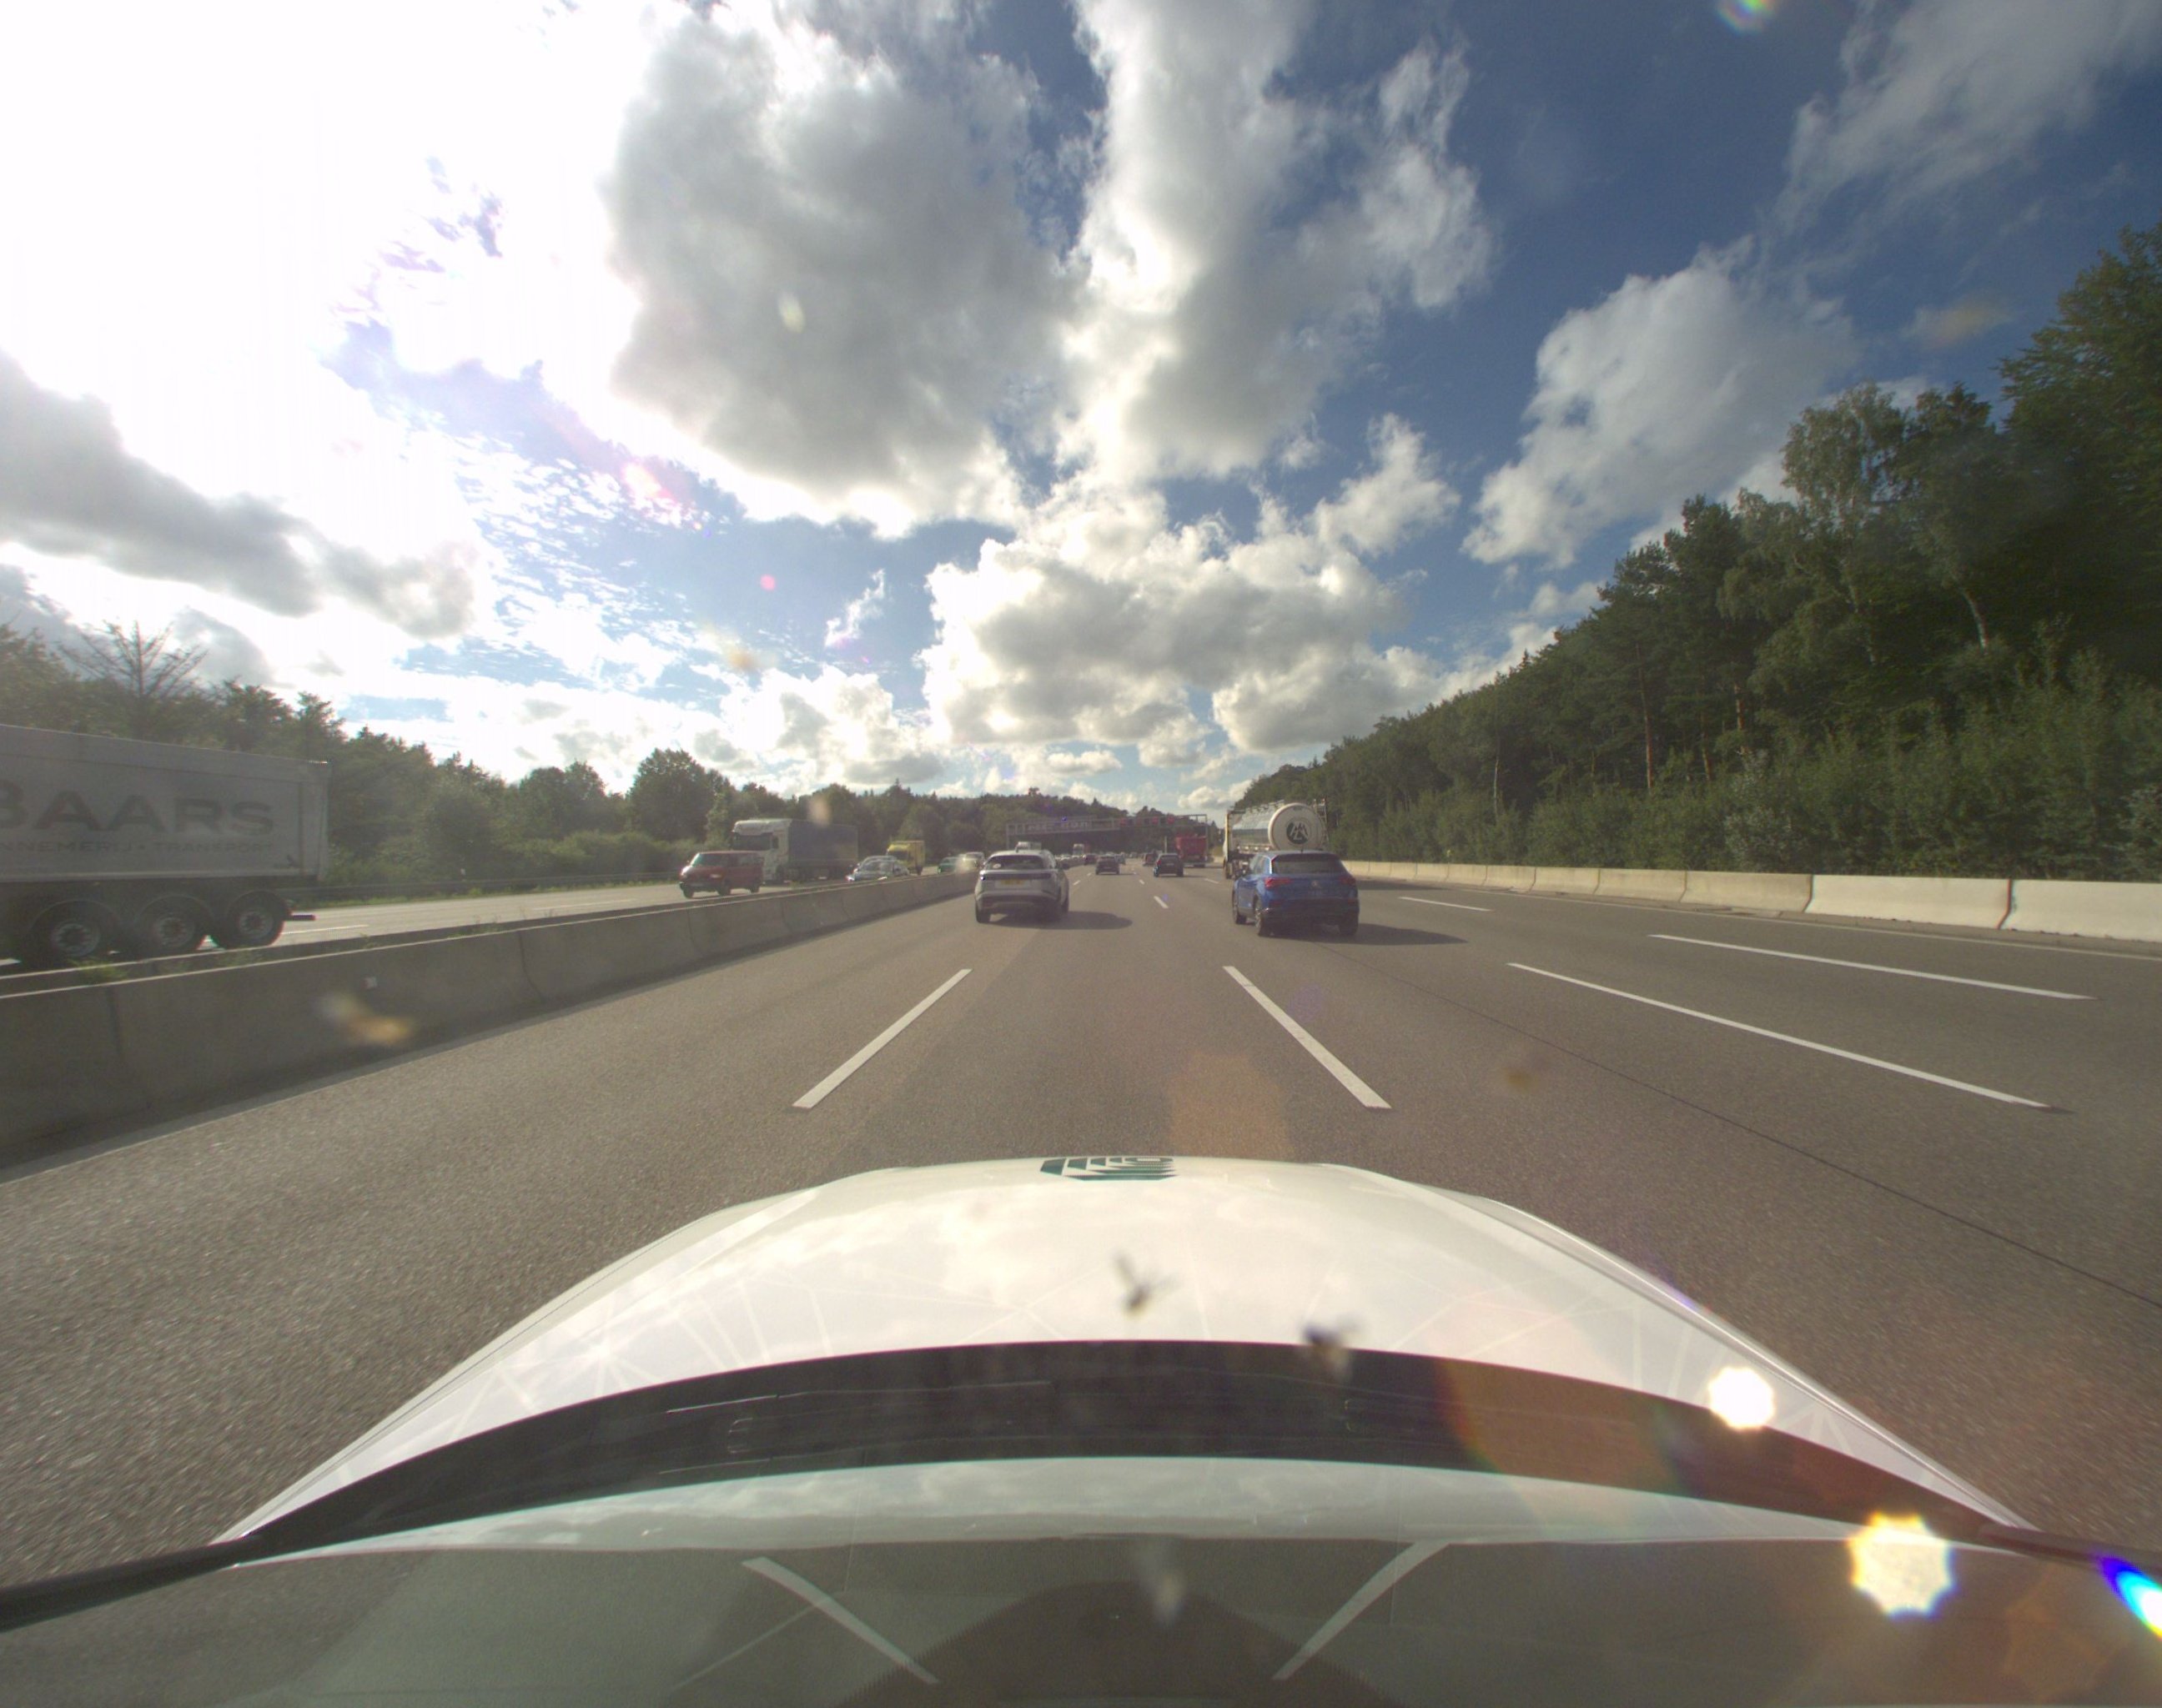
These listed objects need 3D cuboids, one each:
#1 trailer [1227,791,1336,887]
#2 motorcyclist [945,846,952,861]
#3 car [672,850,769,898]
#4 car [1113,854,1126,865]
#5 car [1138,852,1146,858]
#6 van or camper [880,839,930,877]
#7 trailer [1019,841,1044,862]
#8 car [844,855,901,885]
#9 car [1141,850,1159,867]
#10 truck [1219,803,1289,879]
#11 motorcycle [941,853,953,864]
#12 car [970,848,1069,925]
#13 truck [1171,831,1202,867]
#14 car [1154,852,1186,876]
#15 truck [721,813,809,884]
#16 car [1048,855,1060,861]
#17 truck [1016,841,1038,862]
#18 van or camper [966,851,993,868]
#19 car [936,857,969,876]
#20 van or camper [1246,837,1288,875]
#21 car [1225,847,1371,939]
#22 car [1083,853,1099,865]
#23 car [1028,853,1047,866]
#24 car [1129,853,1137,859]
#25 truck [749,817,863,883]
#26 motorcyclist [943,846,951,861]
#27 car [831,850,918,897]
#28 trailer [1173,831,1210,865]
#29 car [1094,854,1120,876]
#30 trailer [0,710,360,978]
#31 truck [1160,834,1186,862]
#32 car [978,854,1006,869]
[{"bbox_3d":[9.084,-0.597,38.510,2.638,3.767,11.867,-2,0,2],"label":"trailer"},{"bbox_3d":[-13.296,-0.016,81.594,0.600,1.476,0.532,-1,-1,4],"label":"motorcyclist"},{"bbox_3d":[-15.631,0.808,35.613,1.840,1.940,5.035,-1,0,1],"label":"car"},{"bbox_3d":[5.204,0.736,110.253,1.815,1.457,4.002,-1,-1,2],"label":"car"},{"bbox_3d":[16.260,0.349,217.538,2.069,1.457,4.002,-3,0,2],"label":"car"},{"bbox_3d":[-14.405,0.336,67.132,2.364,2.891,6.510,-2,0,3],"label":"van or camper"},{"bbox_3d":[-10.053,-0.489,166.039,3.303,4.106,14.168,-1,0,3],"label":"trailer"},{"bbox_3d":[-12.223,0.893,48.076,1.837,1.596,4.916,-2,0,2],"label":"car"},{"bbox_3d":[8.101,0.527,96.466,1.886,1.856,4.102,0,0,2],"label":"car"},{"bbox_3d":[9.369,-0.662,44.736,2.639,3.823,6.085,-2,0,2],"label":"truck"},{"bbox_3d":[-13.337,0.441,80.997,0.607,1.040,2.177,-1,0,4],"label":"motorcycle"},{"bbox_3d":[-1.363,0.701,20.199,2.000,1.616,5.300,-1,0,0],"label":"car"},{"bbox_3d":[11.374,-0.529,87.936,2.700,3.718,5.819,-1,0,1],"label":"truck"},{"bbox_3d":[5.712,0.595,52.749,1.815,1.457,4.002,-1,0,2],"label":"car"},{"bbox_3d":[-19.378,-0.326,50.423,2.808,4.094,6.065,-1,0,2],"label":"truck"},{"bbox_3d":[-5.067,0.779,152.834,1.803,1.161,4.519,-1,0,3],"label":"car"},{"bbox_3d":[-10.482,-0.474,158.966,3.303,4.106,6.231,-1,0,3],"label":"truck"},{"bbox_3d":[-12.051,0.619,96.818,1.984,1.937,5.465,-1,0,5],"label":"van or camper"},{"bbox_3d":[-10.691,1.007,68.114,1.776,1.470,4.334,-2,0,3],"label":"car"},{"bbox_3d":[12.060,0.142,53.084,1.815,2.307,4.942,-1,0,3],"label":"van or camper"},{"bbox_3d":[4.089,0.666,16.074,1.766,1.530,4.459,-1,0,1],"label":"car"},{"bbox_3d":[1.336,0.686,108.842,1.934,1.457,4.004,-3,0,3],"label":"car"},{"bbox_3d":[-5.363,0.680,100.717,1.856,1.552,4.664,-1,0,2],"label":"car"},{"bbox_3d":[14.621,0.511,230.176,2.068,1.457,4.004,-3,0,4],"label":"car"},{"bbox_3d":[-19.089,-0.262,57.971,2.808,4.094,13.852,-1,0,2],"label":"truck"},{"bbox_3d":[-13.335,-0.021,80.984,0.600,1.476,0.532,-1,-1,4],"label":"motorcyclist"},{"bbox_3d":[-9.119,0.799,36.539,2.162,1.878,5.367,-2,0,3],"label":"car"},{"bbox_3d":[11.195,-0.571,83.049,2.700,3.231,9.736,-1,0,2],"label":"trailer"},{"bbox_3d":[1.890,0.812,60.733,1.816,1.546,4.000,-1,0,0],"label":"car"},{"bbox_3d":[-17.035,-0.126,11.681,2.955,3.858,11.287,-1,0,2],"label":"trailer"},{"bbox_3d":[13.886,-0.875,123.565,3.107,3.935,10.415,-1,0,2],"label":"truck"},{"bbox_3d":[-9.772,0.812,89.778,2.161,1.470,4.791,-1,0,4],"label":"car"}]
